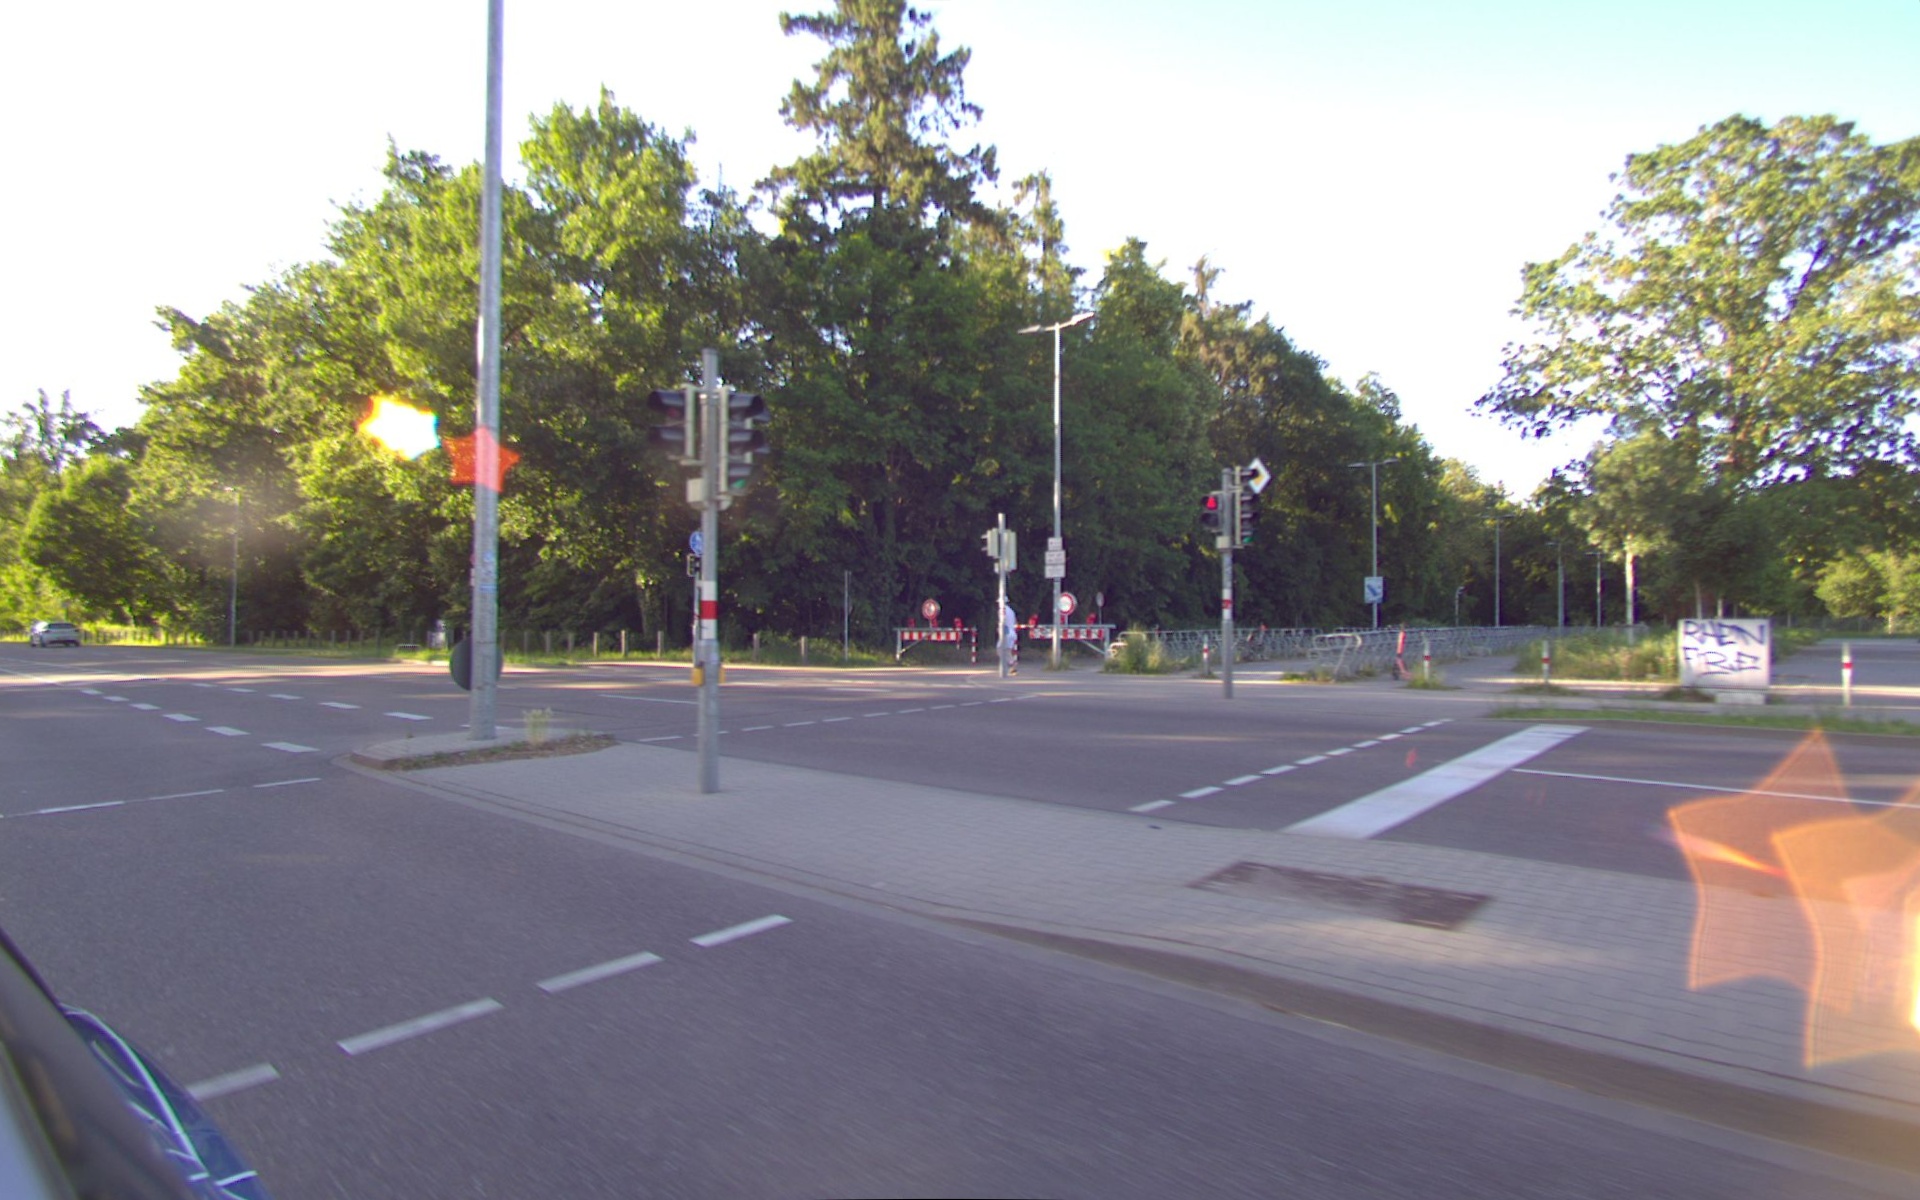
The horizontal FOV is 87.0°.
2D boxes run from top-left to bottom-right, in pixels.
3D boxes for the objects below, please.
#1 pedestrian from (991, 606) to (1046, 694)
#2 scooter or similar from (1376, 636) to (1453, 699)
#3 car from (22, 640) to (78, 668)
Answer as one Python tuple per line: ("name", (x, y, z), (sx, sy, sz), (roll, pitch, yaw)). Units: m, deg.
("pedestrian", (1.301, 1.100, 22.605), (1.106, 1.924, 0.606), (-1, -2, 41))
("scooter or similar", (9.367, 1.365, 20.896), (0.505, 1.234, 1.362), (1, -2, -35))
("car", (-51.291, 3.023, 57.013), (4.096, 1.475, 1.694), (-2, 0, 39))
